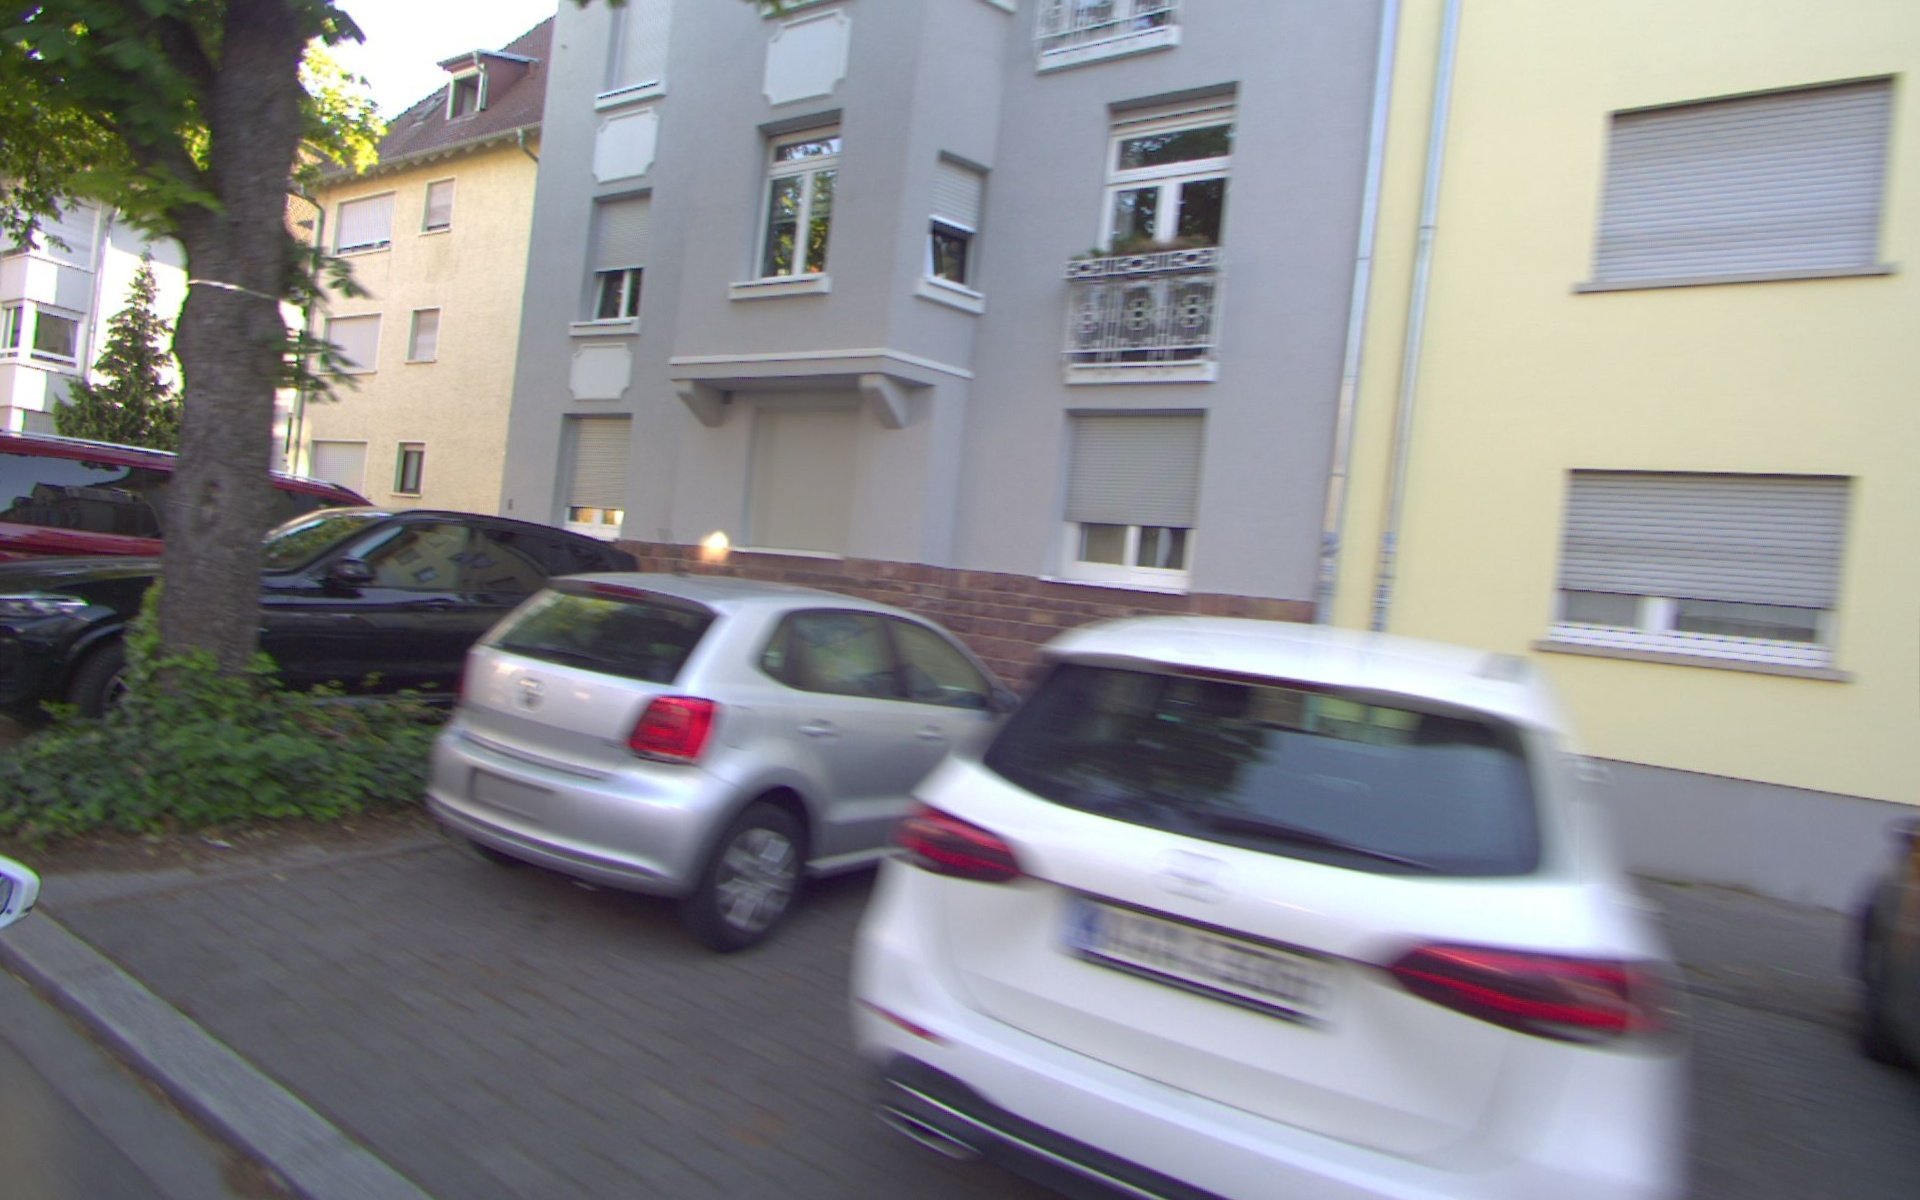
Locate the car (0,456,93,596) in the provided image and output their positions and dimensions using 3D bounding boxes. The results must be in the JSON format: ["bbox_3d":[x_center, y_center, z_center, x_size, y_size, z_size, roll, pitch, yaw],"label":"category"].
[{"bbox_3d":[-15.229,-1.286,14.118,1.859,1.944,4.137,7,-1,30],"label":"car"}]

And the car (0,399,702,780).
[{"bbox_3d":[-4.360,0.074,7.330,1.921,1.858,4.635,7,-2,31],"label":"car"}]

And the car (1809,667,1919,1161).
[{"bbox_3d":[3.928,1.111,2.746,1.696,1.674,3.553,7,-1,30],"label":"car"}]

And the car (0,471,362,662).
[{"bbox_3d":[-8.692,-0.333,10.436,1.764,1.608,3.784,7,-1,34],"label":"car"}]

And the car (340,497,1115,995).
[{"bbox_3d":[-0.808,0.616,5.404,1.715,1.586,3.818,7,-2,32],"label":"car"}]

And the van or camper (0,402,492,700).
[{"bbox_3d":[-6.787,-0.313,8.804,1.968,2.037,4.318,7,-2,34],"label":"van or camper"}]

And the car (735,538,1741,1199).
[{"bbox_3d":[1.217,0.857,3.477,1.696,1.577,3.736,7,-1,30],"label":"car"}]
